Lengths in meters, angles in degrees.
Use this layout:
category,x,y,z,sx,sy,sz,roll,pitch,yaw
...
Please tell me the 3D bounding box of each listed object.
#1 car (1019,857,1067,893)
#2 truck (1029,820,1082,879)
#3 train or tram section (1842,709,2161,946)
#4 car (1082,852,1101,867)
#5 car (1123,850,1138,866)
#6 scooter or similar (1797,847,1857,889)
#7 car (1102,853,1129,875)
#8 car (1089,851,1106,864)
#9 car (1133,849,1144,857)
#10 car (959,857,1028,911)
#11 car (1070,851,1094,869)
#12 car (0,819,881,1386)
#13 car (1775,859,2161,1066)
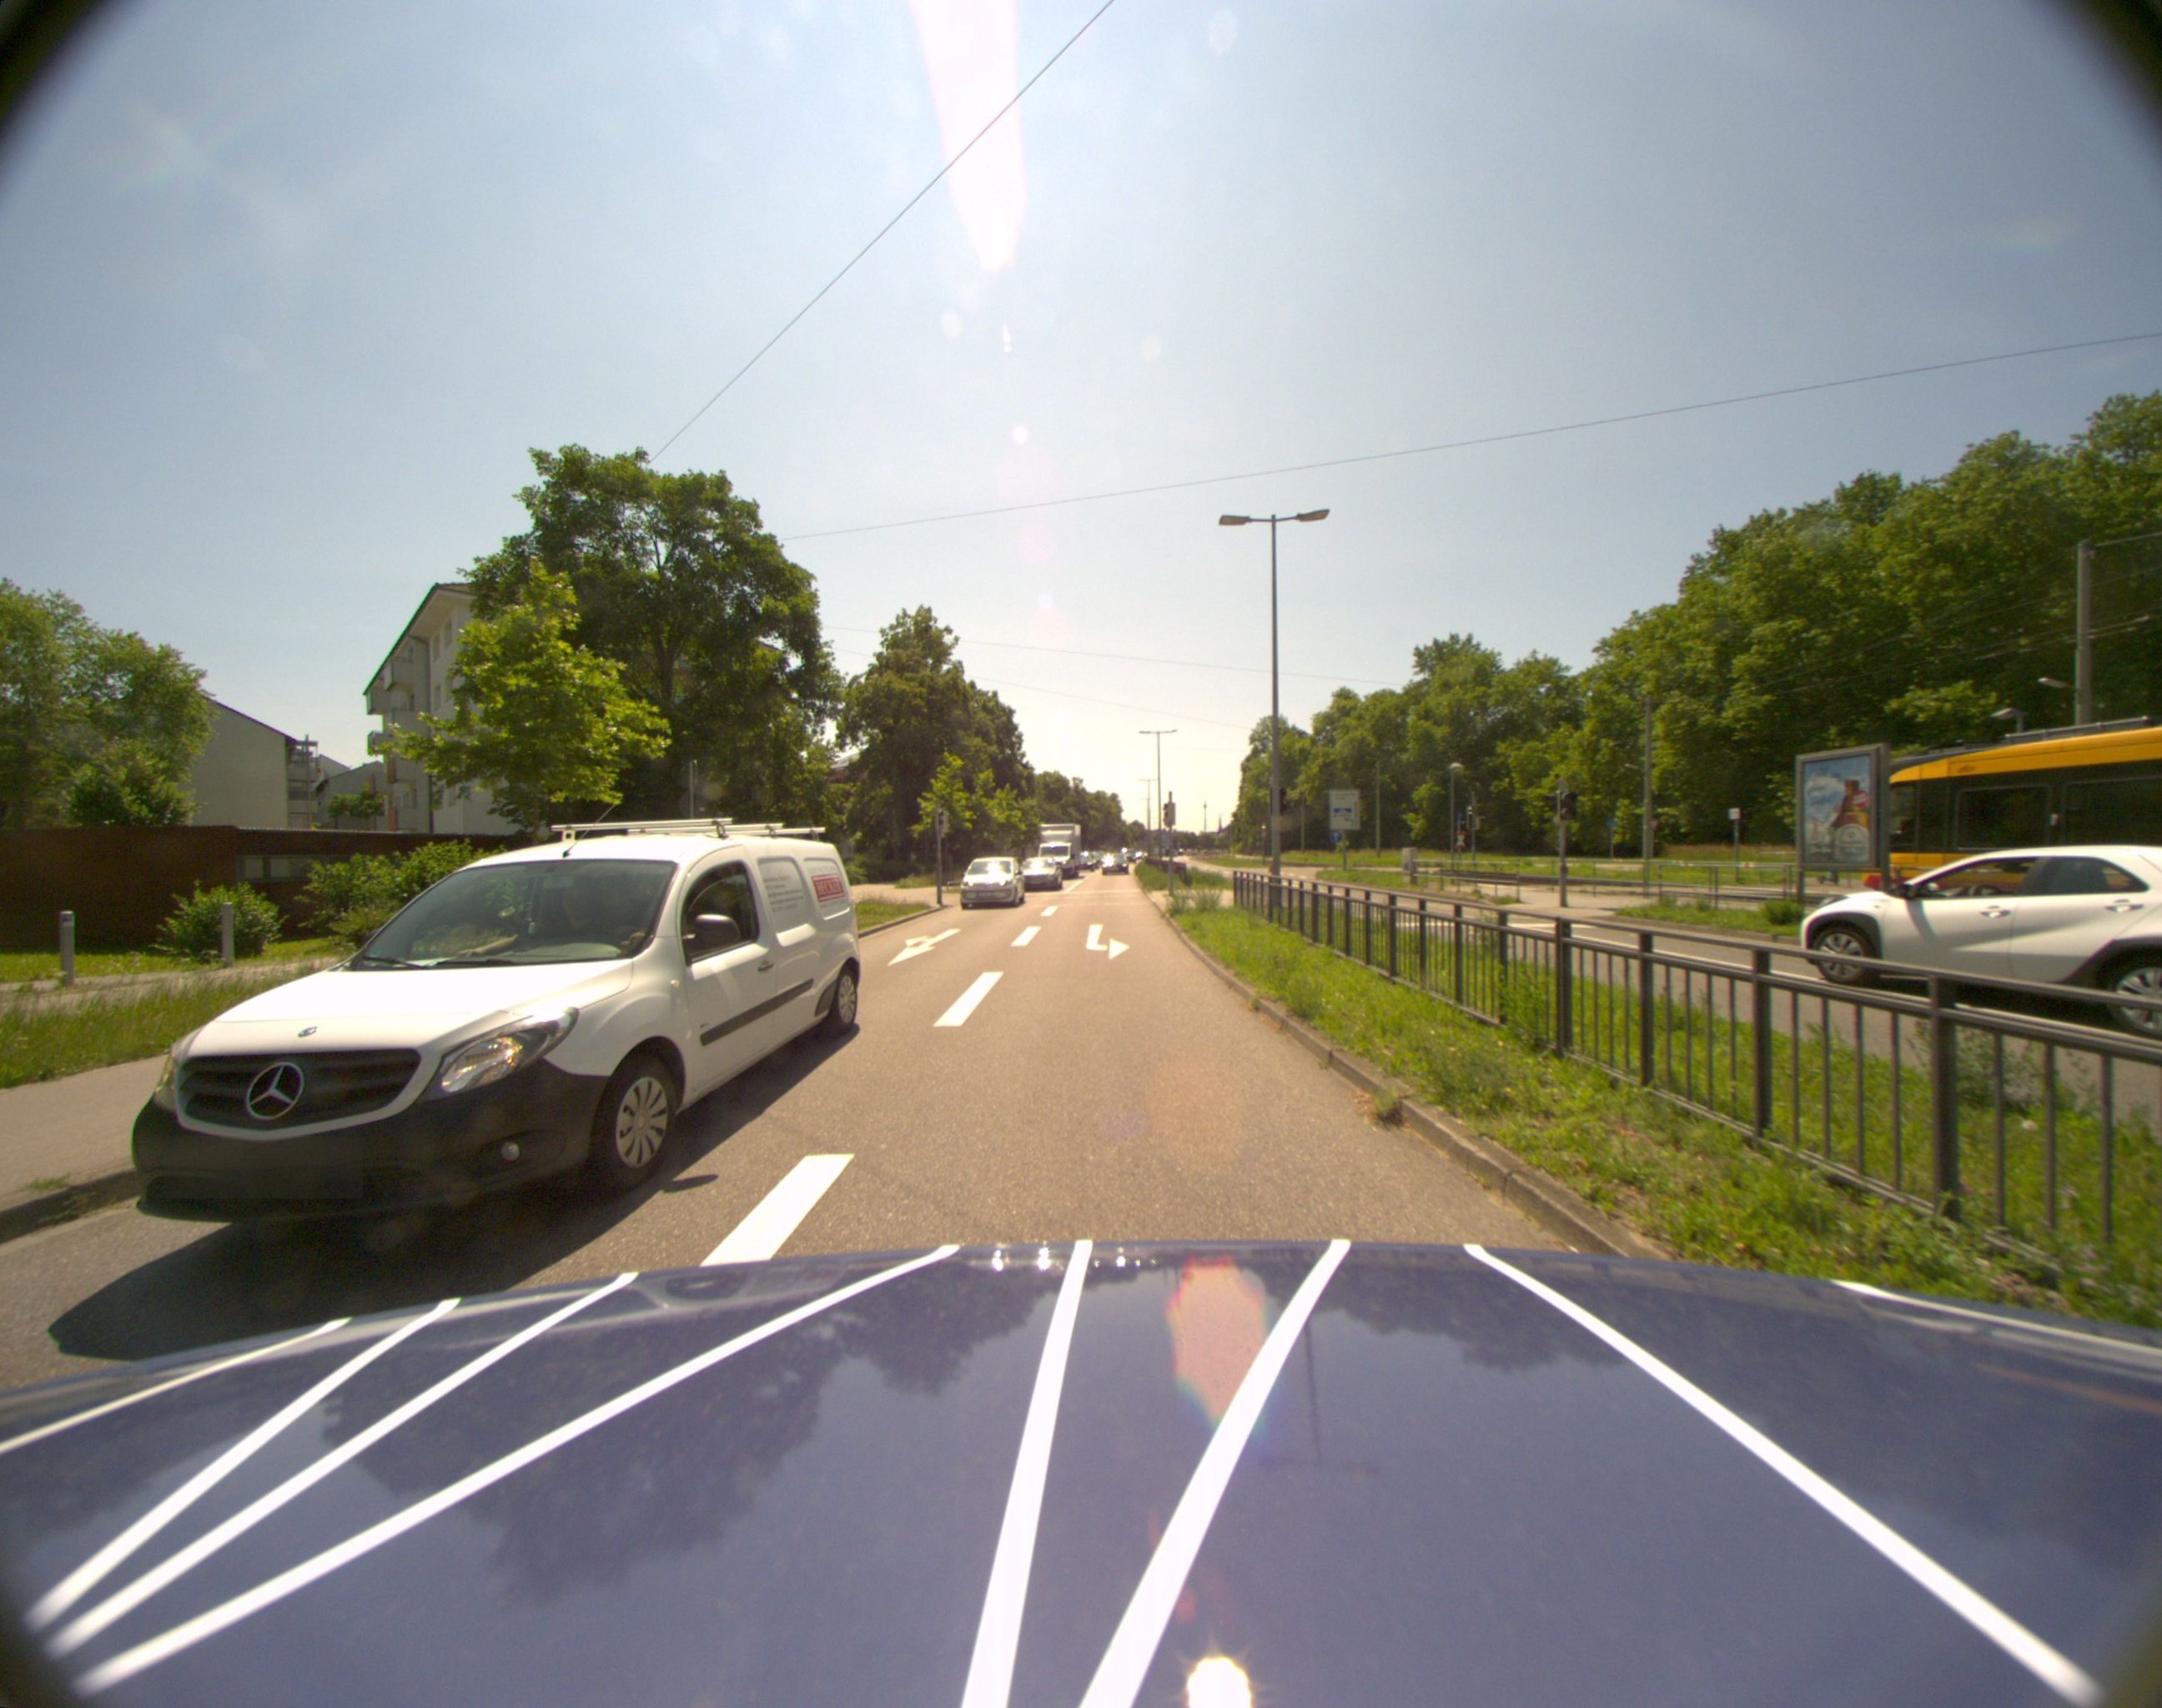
category,x,y,z,sx,sy,sz,roll,pitch,yaw
car,-1.606,0.856,33.247,1.618,1.373,4.115,-2,0,4
truck,-1.428,-0.290,46.502,2.489,3.277,6.606,-1,1,4
train or tram section,18.947,-0.477,11.774,2.957,3.833,11.541,-2,0,2
car,1.011,0.506,72.593,1.618,1.373,4.115,-2,0,4
car,6.226,0.511,95.697,1.745,1.840,3.887,-1,1,3
scooter or similar,23.082,0.411,23.519,0.771,1.230,1.100,-3,1,2
car,2.379,0.668,51.613,1.745,1.382,3.887,-1,1,3
car,1.802,0.363,81.606,1.745,1.382,3.887,-1,1,3
car,10.720,-0.197,140.674,1.745,1.382,3.889,-1,1,8
car,-2.616,0.870,23.421,1.626,1.433,3.498,-2,1,1
car,0.114,0.460,62.017,1.745,1.382,3.887,-1,1,3
car,-2.968,0.826,5.082,1.809,1.845,5.082,-2,0,0
car,8.940,0.825,6.956,1.773,1.496,3.719,0,1,0
